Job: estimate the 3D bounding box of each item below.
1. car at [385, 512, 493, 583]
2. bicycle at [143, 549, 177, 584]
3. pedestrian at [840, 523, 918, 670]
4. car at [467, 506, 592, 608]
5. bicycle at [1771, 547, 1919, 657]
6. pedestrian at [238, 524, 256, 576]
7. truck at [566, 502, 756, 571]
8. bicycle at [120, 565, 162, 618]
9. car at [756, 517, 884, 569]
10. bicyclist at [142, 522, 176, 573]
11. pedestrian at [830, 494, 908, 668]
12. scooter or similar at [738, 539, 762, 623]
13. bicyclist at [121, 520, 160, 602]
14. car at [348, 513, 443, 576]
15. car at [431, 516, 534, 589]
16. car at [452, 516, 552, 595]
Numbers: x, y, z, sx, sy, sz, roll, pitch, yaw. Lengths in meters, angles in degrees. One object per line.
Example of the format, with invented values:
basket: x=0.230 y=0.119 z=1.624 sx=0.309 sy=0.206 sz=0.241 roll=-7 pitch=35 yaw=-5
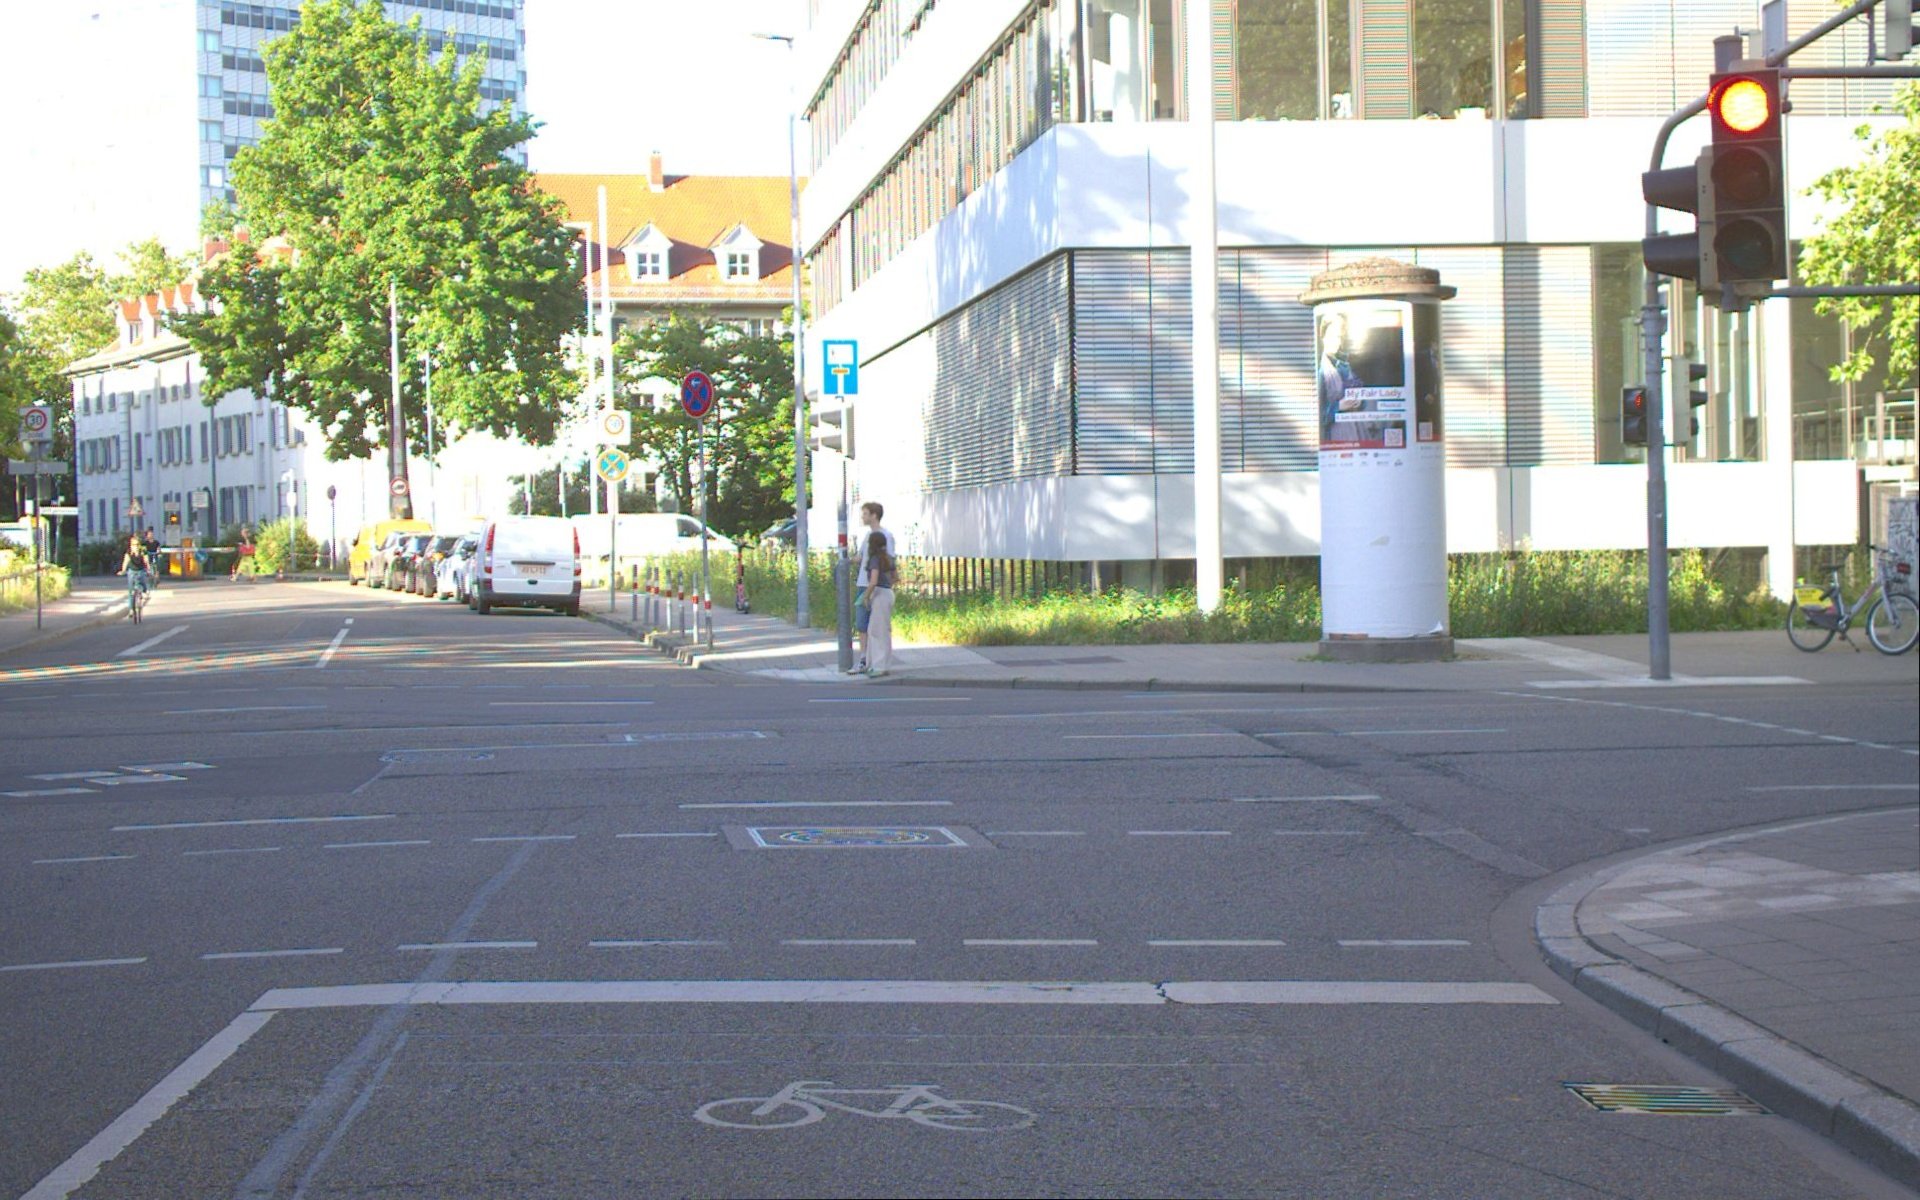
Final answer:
car: x=-12.996 y=-1.327 z=85.548 sx=1.888 sy=1.650 sz=4.417 roll=-1 pitch=2 yaw=-19
bicycle: x=-24.341 y=-1.025 z=104.627 sx=0.865 sy=1.006 sz=2.415 roll=-4 pitch=1 yaw=-11
pedestrian: x=-0.880 y=-0.042 z=37.191 sx=0.559 sy=1.535 sz=0.677 roll=-5 pitch=2 yaw=-18
car: x=-8.129 y=-0.838 z=64.660 sx=2.084 sy=1.789 sz=4.417 roll=-1 pitch=2 yaw=-10
bicycle: x=9.319 y=0.008 z=36.025 sx=0.507 sy=1.045 sz=1.687 roll=-4 pitch=5 yaw=-35
pedestrian: x=-22.249 y=-1.569 z=107.279 sx=0.433 sy=1.602 sz=0.493 roll=-2 pitch=1 yaw=-26
truck: x=-8.959 y=-1.915 z=103.037 sx=5.336 sy=2.007 sz=2.001 roll=-1 pitch=1 yaw=-19
bicycle: x=-15.510 y=-0.166 z=65.151 sx=0.615 sy=0.966 sz=1.842 roll=-2 pitch=1 yaw=-9
car: x=-4.244 y=-1.735 z=104.225 sx=3.554 sy=1.541 sz=1.559 roll=-1 pitch=1 yaw=-19
bicyclist: x=-24.369 y=-1.600 z=104.631 sx=0.865 sy=1.510 sz=1.019 roll=-4 pitch=1 yaw=-11
pedestrian: x=-0.996 y=-0.212 z=37.794 sx=0.560 sy=1.844 sz=0.677 roll=-3 pitch=2 yaw=16
scooter or similar: x=-3.583 y=-0.326 z=58.558 sx=0.330 sy=1.419 sz=1.335 roll=1 pitch=0 yaw=-6
bicyclist: x=-15.523 y=-0.738 z=65.152 sx=0.615 sy=1.527 sz=0.903 roll=-2 pitch=1 yaw=-9
car: x=-15.691 y=-1.568 z=95.483 sx=1.888 sy=1.650 sz=4.417 roll=-1 pitch=2 yaw=-19
car: x=-10.912 y=-1.110 z=78.300 sx=1.888 sy=1.550 sz=4.417 roll=-1 pitch=2 yaw=-13
car: x=-9.739 y=-0.965 z=72.930 sx=1.888 sy=1.550 sz=4.417 roll=-1 pitch=2 yaw=-10
